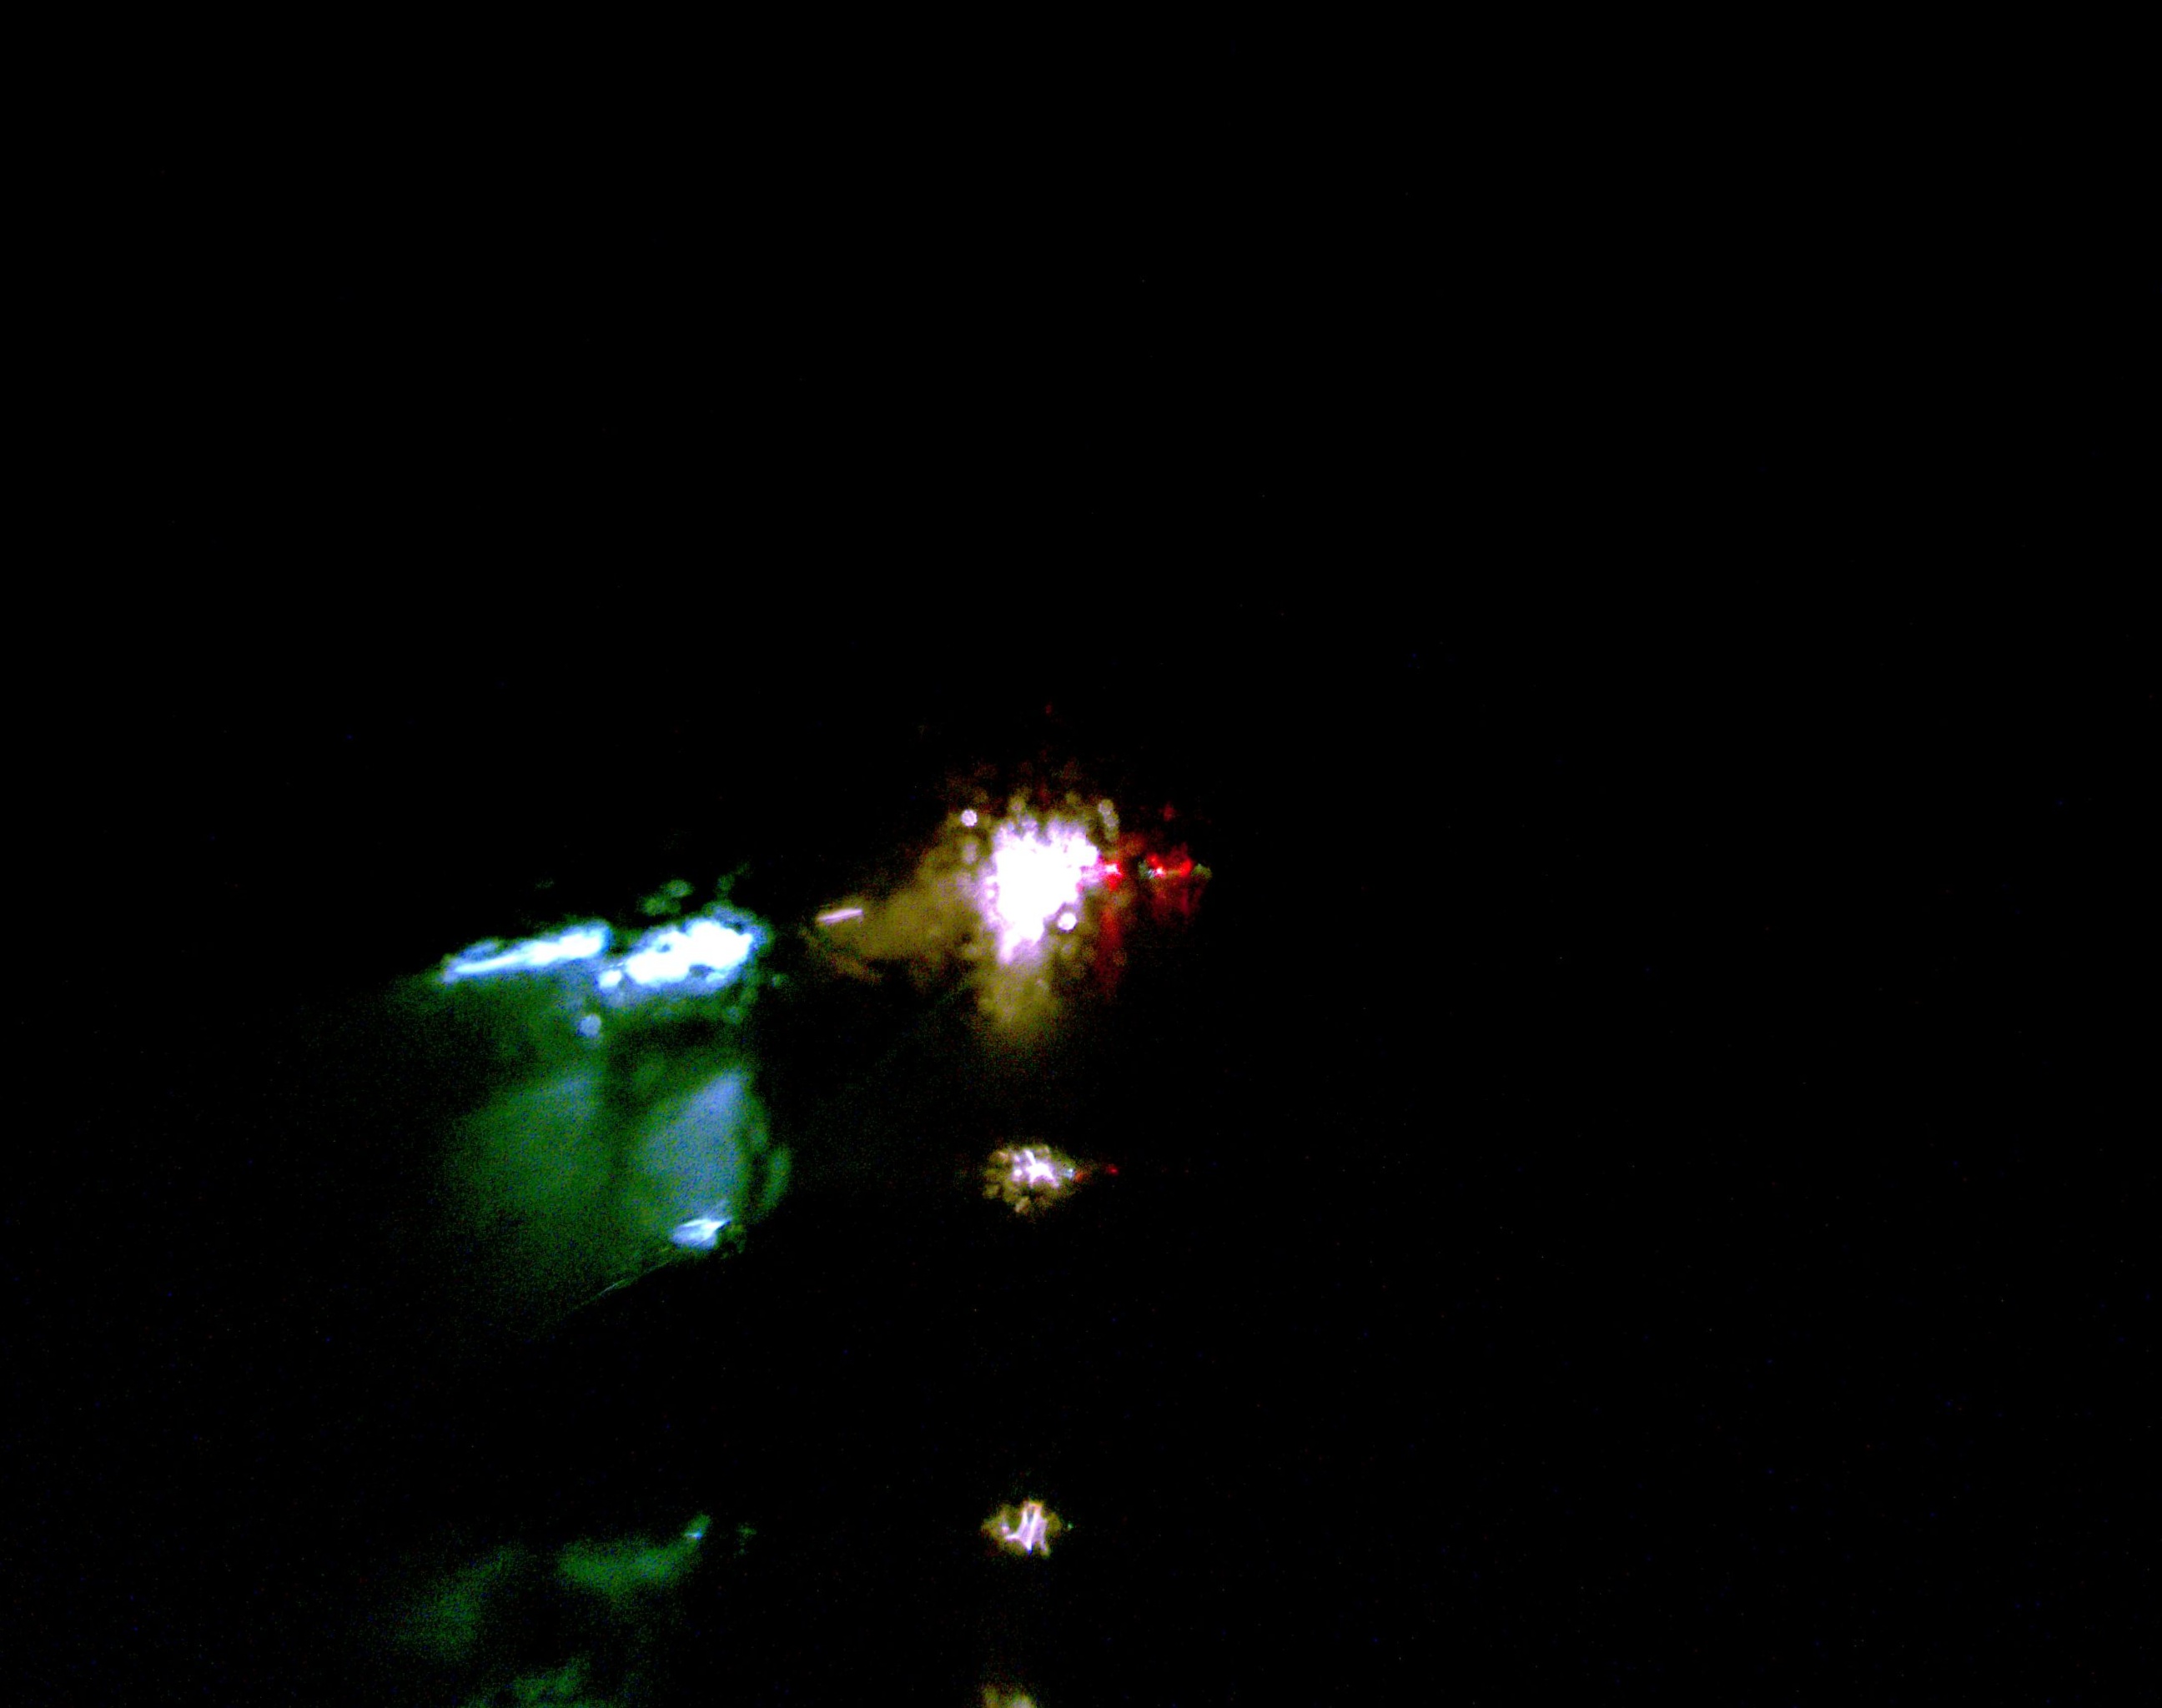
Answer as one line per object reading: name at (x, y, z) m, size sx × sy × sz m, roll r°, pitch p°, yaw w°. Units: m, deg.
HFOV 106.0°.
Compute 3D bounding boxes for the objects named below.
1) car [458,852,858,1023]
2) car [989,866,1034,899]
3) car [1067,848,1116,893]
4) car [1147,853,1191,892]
car at (-4.190, 0.715, 9.176) m, size 1.986 × 1.418 × 4.666 m, roll 0°, pitch 0°, yaw 1°
car at (-3.466, 1.393, 40.983) m, size 1.988 × 1.498 × 3.772 m, roll 0°, pitch 0°, yaw -1°
car at (0.361, 0.616, 31.632) m, size 1.803 × 1.622 × 3.998 m, roll 0°, pitch 0°, yaw -1°
car at (4.732, 0.979, 44.374) m, size 2.085 × 2.014 × 4.001 m, roll 0°, pitch 0°, yaw 1°
